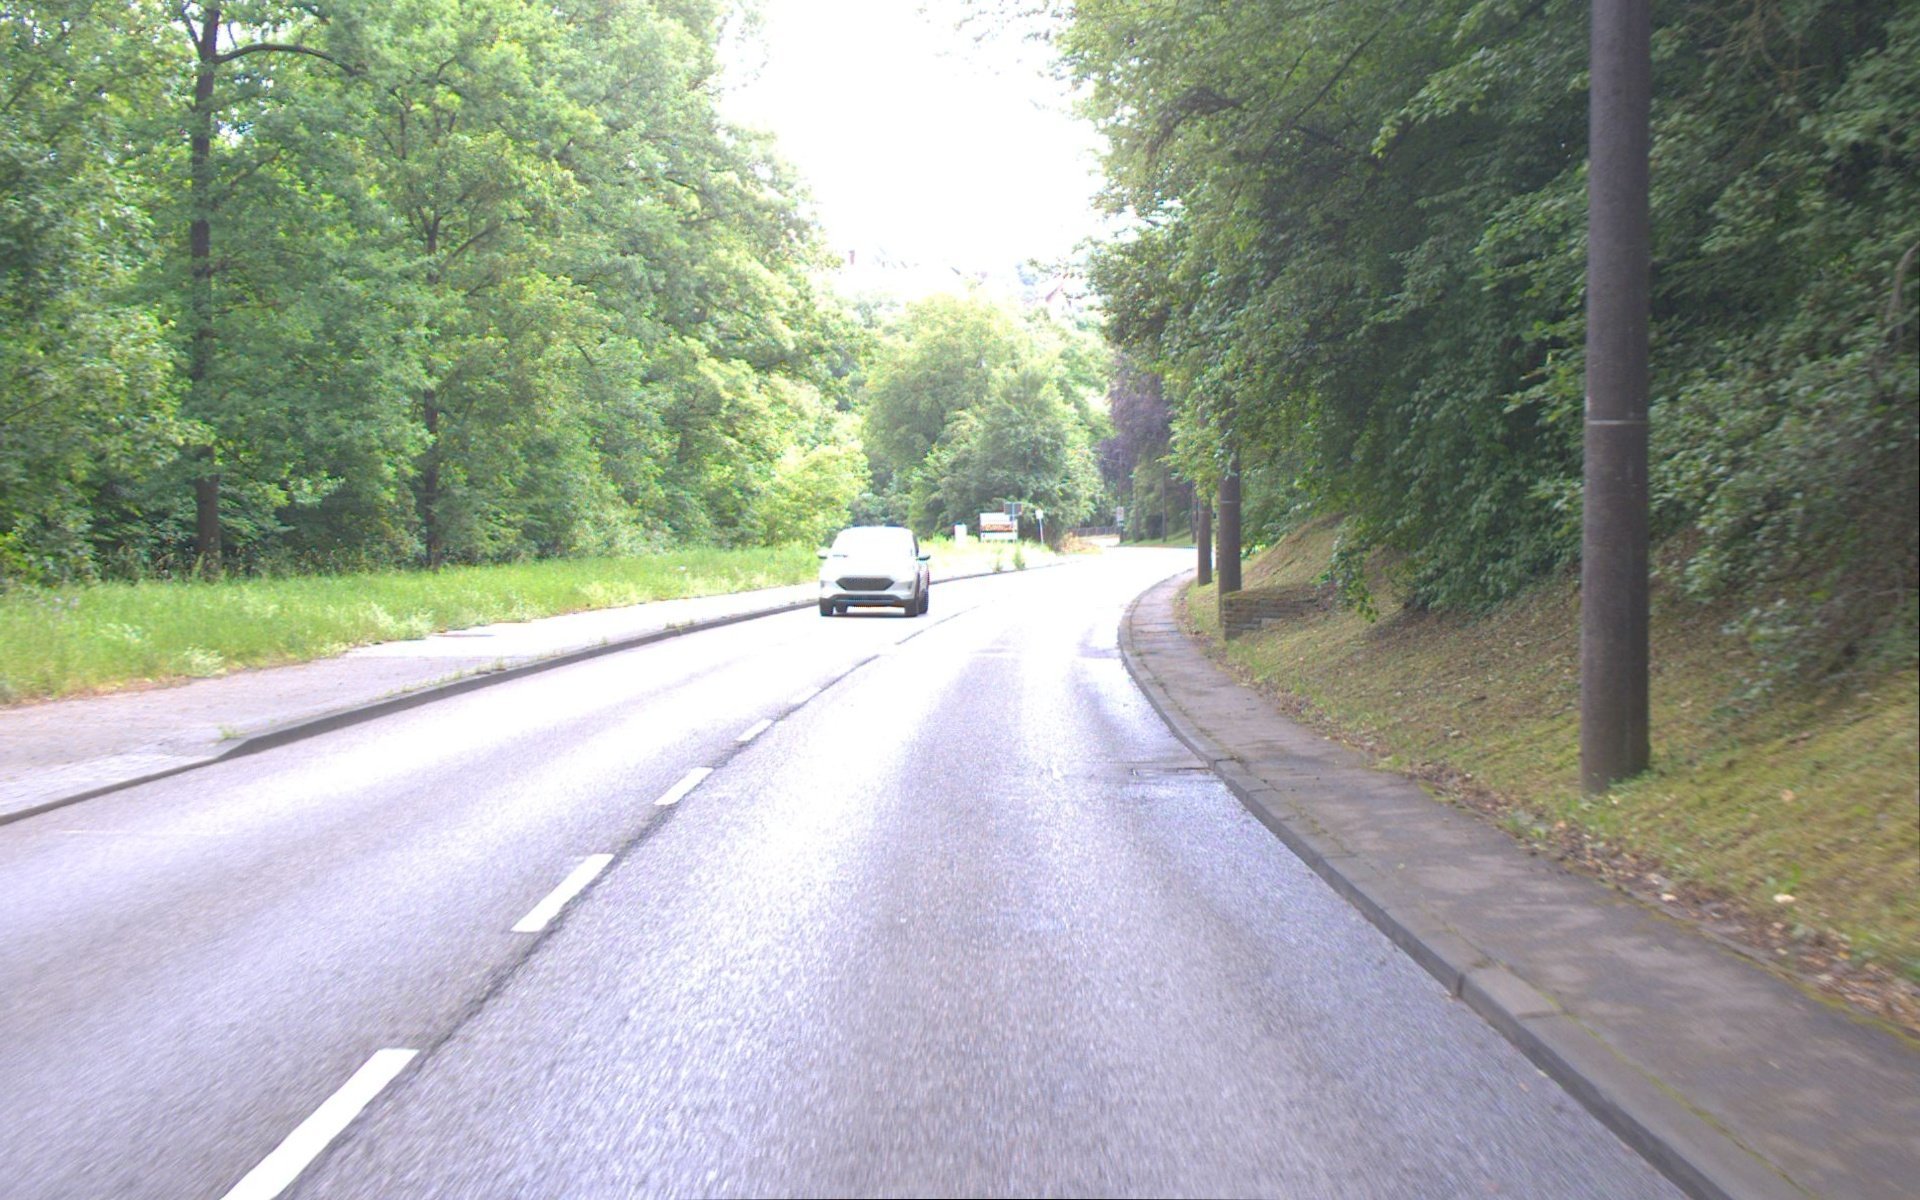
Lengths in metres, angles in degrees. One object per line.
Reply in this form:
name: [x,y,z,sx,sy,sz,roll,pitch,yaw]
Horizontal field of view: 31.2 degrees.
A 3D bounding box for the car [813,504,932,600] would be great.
car: [-1.626,-0.894,65.496,1.993,1.747,4.782,1,0,2]
